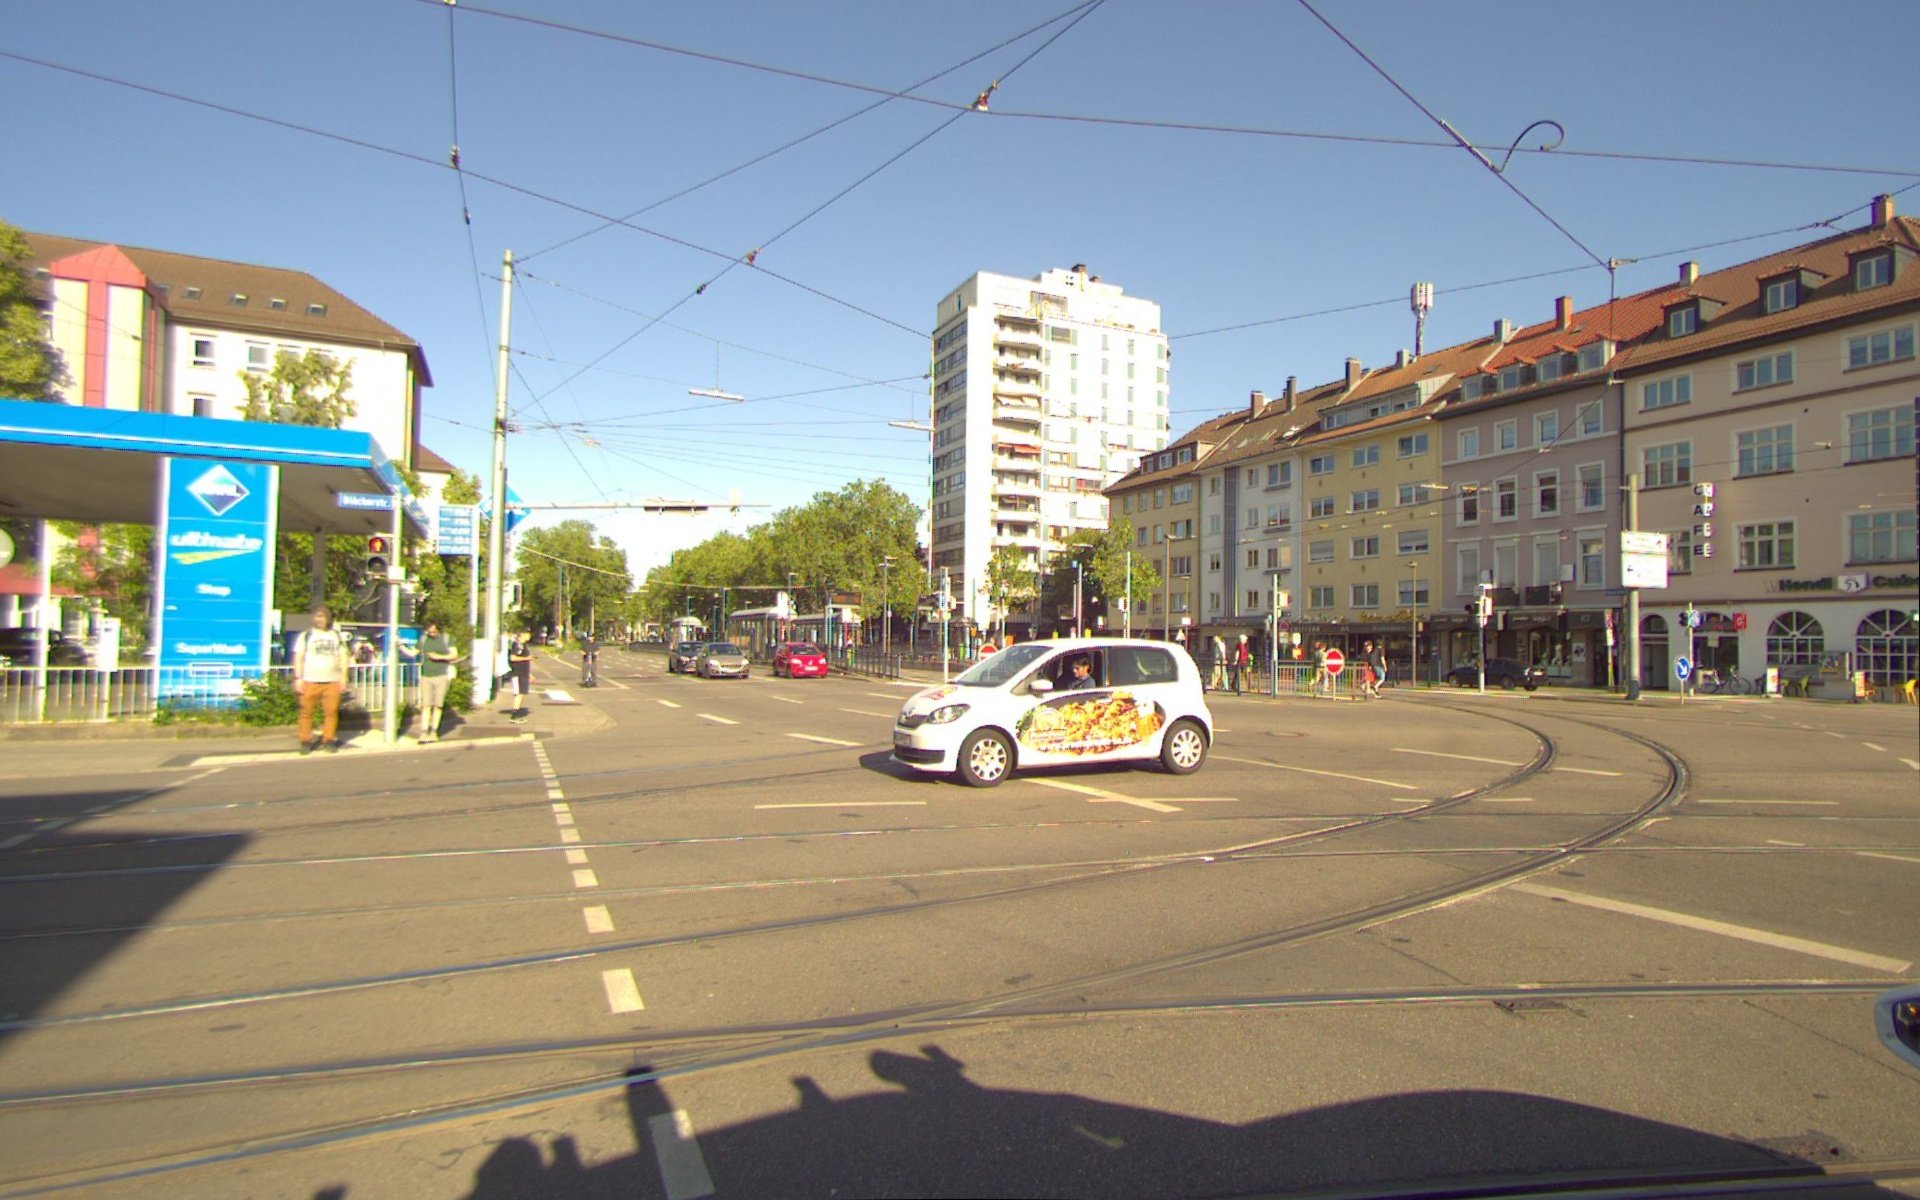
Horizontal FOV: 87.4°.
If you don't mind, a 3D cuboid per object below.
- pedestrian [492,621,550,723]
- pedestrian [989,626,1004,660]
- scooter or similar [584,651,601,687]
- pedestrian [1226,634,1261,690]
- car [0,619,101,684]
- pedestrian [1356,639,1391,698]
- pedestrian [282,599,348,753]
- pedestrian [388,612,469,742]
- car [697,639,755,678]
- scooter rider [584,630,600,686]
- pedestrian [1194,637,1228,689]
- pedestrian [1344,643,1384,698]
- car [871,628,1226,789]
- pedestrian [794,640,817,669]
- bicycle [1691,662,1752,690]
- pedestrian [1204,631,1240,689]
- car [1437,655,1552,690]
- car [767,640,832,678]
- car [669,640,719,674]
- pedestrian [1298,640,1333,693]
[{"bbox_3d":[-7.716,1.252,17.684,0.720,1.751,0.747,1,-2,-9],"label":"pedestrian"},{"bbox_3d":[1.742,2.049,48.136,0.584,1.589,0.731,1,-2,-4],"label":"pedestrian"},{"bbox_3d":[-12.781,2.381,34.888,0.458,1.198,1.468,2,-2,-23],"label":"scooter or similar"},{"bbox_3d":[8.938,1.946,31.669,0.832,1.746,0.825,1,-2,-2],"label":"pedestrian"},{"bbox_3d":[-23.060,1.234,24.784,1.694,1.505,4.194,2,-2,-25],"label":"car"},{"bbox_3d":[12.413,2.045,30.157,0.792,1.756,0.648,2,-2,-32],"label":"pedestrian"},{"bbox_3d":[-8.417,0.976,13.127,0.576,1.951,0.628,2,-2,-24],"label":"pedestrian"},{"bbox_3d":[-7.682,1.094,14.543,0.726,1.824,0.743,1,-2,0],"label":"pedestrian"},{"bbox_3d":[-9.852,2.413,42.090,1.718,1.539,3.978,2,-2,-23],"label":"car"},{"bbox_3d":[-12.778,2.010,34.887,0.458,1.926,0.688,2,-2,-23],"label":"scooter rider"},{"bbox_3d":[8.113,2.015,32.469,0.793,1.652,0.864,1,-2,-7],"label":"pedestrian"},{"bbox_3d":[13.043,2.267,32.444,0.894,1.756,0.834,2,-2,-30],"label":"pedestrian"},{"bbox_3d":[0.975,1.097,11.038,3.535,1.516,1.713,2,-2,-26],"label":"car"},{"bbox_3d":[-7.791,2.762,50.698,1.032,1.439,0.574,2,-2,-30],"label":"pedestrian"},{"bbox_3d":[31.501,3.151,41.573,0.577,1.081,1.933,2,-2,-31],"label":"bicycle"},{"bbox_3d":[8.094,1.841,31.071,0.812,1.756,0.784,-1,-3,43],"label":"pedestrian"},{"bbox_3d":[24.910,3.346,47.002,1.722,1.458,4.624,2,-3,-27],"label":"car"},{"bbox_3d":[-6.870,2.471,42.675,1.694,1.505,4.194,2,-2,-25],"label":"car"},{"bbox_3d":[-12.553,2.667,47.345,1.718,1.539,3.978,2,-2,-23],"label":"car"},{"bbox_3d":[11.874,2.209,33.571,0.815,1.756,0.782,2,-2,-33],"label":"pedestrian"}]
